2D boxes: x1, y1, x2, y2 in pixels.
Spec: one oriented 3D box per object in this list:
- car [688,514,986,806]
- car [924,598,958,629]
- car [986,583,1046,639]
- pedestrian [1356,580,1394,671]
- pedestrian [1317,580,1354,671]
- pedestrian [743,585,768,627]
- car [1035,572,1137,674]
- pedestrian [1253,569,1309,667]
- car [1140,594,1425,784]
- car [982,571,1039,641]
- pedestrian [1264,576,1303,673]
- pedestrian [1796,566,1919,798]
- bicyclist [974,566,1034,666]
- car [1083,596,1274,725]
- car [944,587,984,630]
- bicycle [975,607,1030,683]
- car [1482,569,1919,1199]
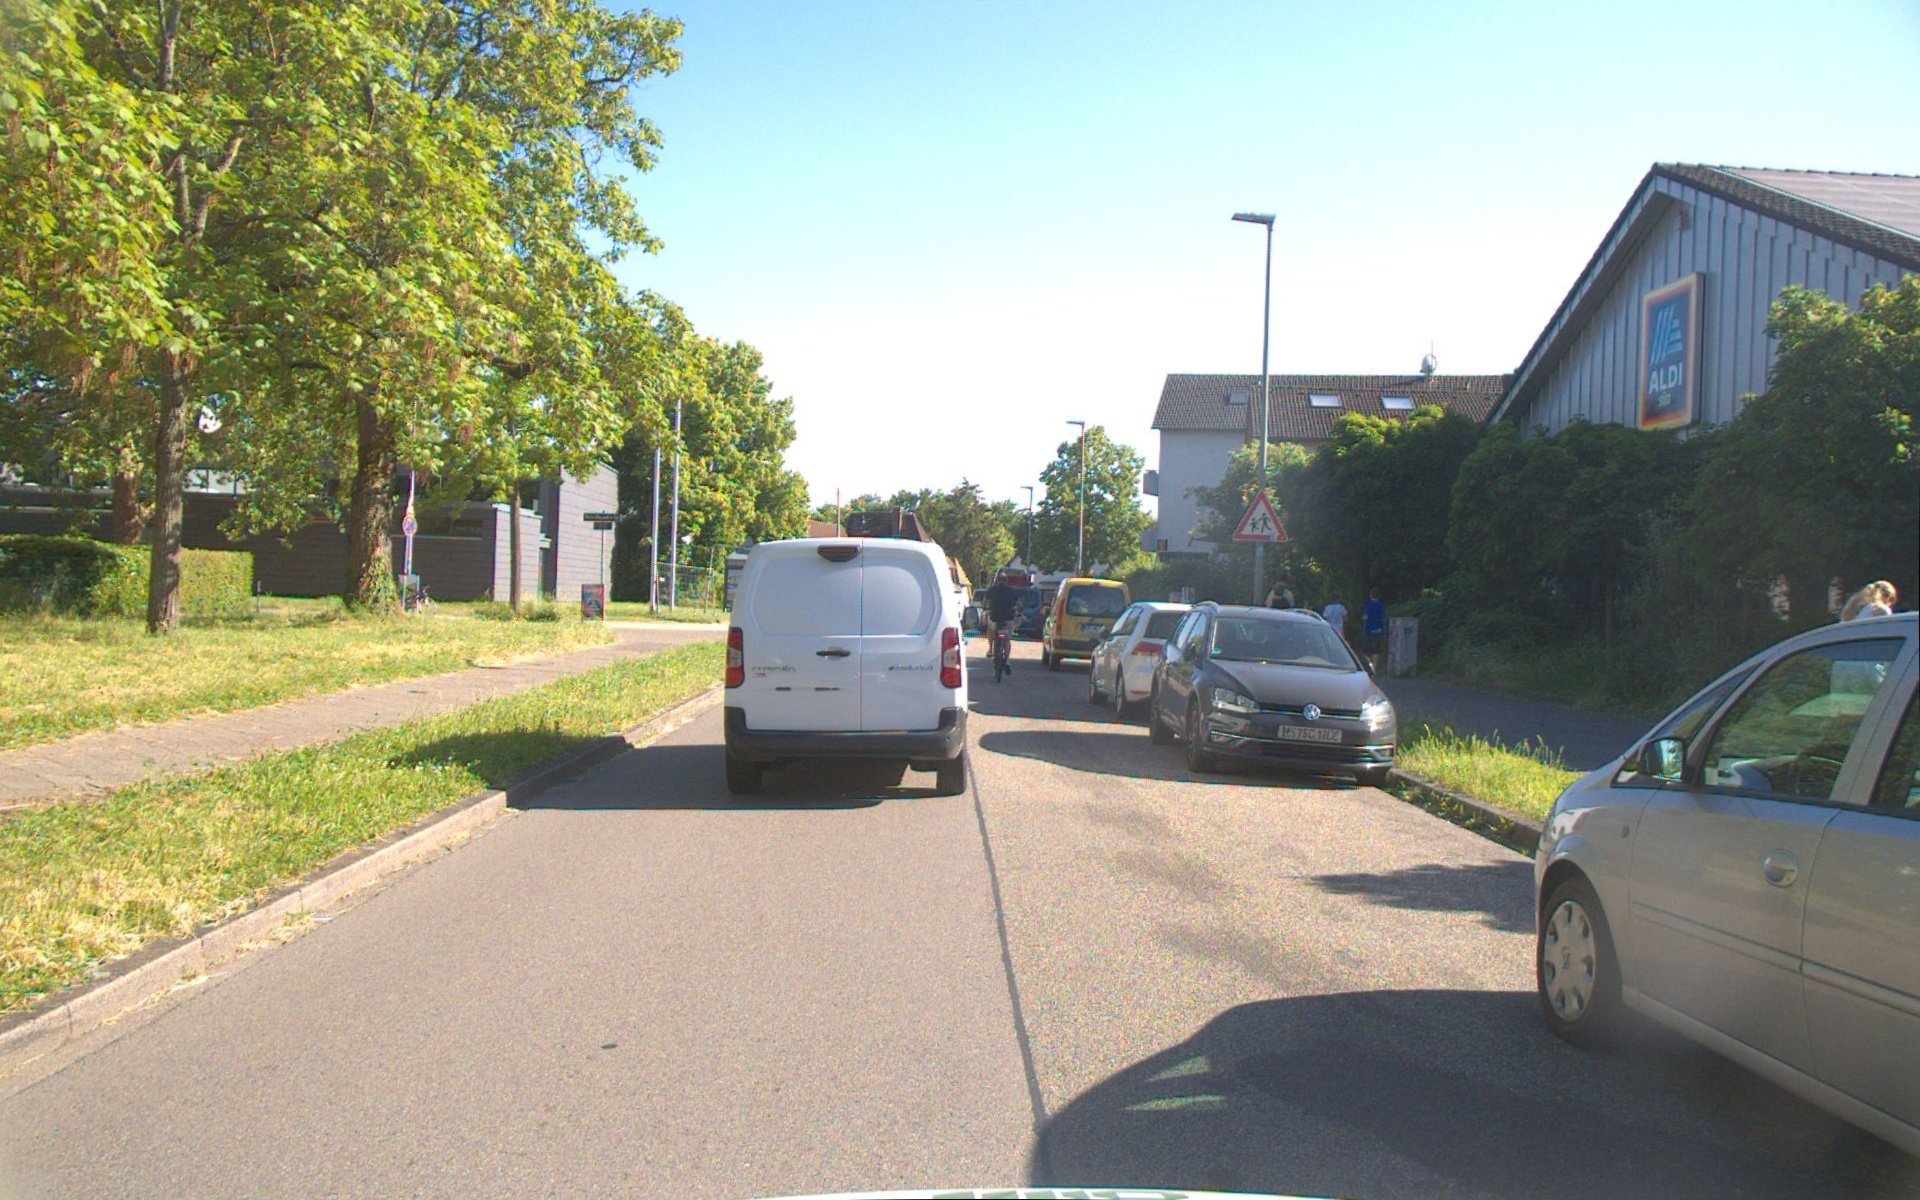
[{"bbox_3d":[-0.863,0.387,13.332,1.953,1.914,4.288,2,0,-1],"label":"car"},{"bbox_3d":[-1.286,0.937,111.557,1.766,1.874,4.002,4,-1,5],"label":"car"},{"bbox_3d":[1.992,0.402,59.948,1.768,1.816,3.998,4,-1,-2],"label":"car"},{"bbox_3d":[7.741,0.467,30.855,0.555,1.665,0.547,2,0,4],"label":"pedestrian"},{"bbox_3d":[7.009,0.466,30.891,0.555,1.665,0.547,2,0,4],"label":"pedestrian"},{"bbox_3d":[-7.428,0.232,59.962,0.500,1.470,0.637,5,0,32],"label":"pedestrian"},{"bbox_3d":[2.486,0.432,33.453,1.689,1.869,4.000,2,0,0],"label":"car"},{"bbox_3d":[6.384,0.346,32.912,0.779,1.893,0.873,2,0,-8],"label":"pedestrian"},{"bbox_3d":[2.896,0.725,15.789,1.771,1.468,4.363,2,0,-1],"label":"car"},{"bbox_3d":[1.997,0.245,67.064,1.829,2.607,4.765,4,-1,-2],"label":"car"},{"bbox_3d":[5.671,0.429,28.981,0.555,1.665,0.547,2,0,4],"label":"pedestrian"},{"bbox_3d":[7.414,0.645,13.495,0.781,1.813,0.809,2,0,7],"label":"pedestrian"},{"bbox_3d":[0.727,0.264,27.695,0.887,1.612,0.966,2,-1,-3],"label":"bicyclist"},{"bbox_3d":[2.772,0.720,21.791,1.790,1.477,3.998,2,0,-2],"label":"car"},{"bbox_3d":[0.199,0.450,86.529,1.768,2.104,3.998,4,-1,-2],"label":"car"},{"bbox_3d":[0.695,0.732,27.733,0.771,1.158,2.279,2,0,-2],"label":"bicycle"},{"bbox_3d":[3.129,0.803,4.705,1.647,1.627,4.024,5,0,-5],"label":"car"}]
